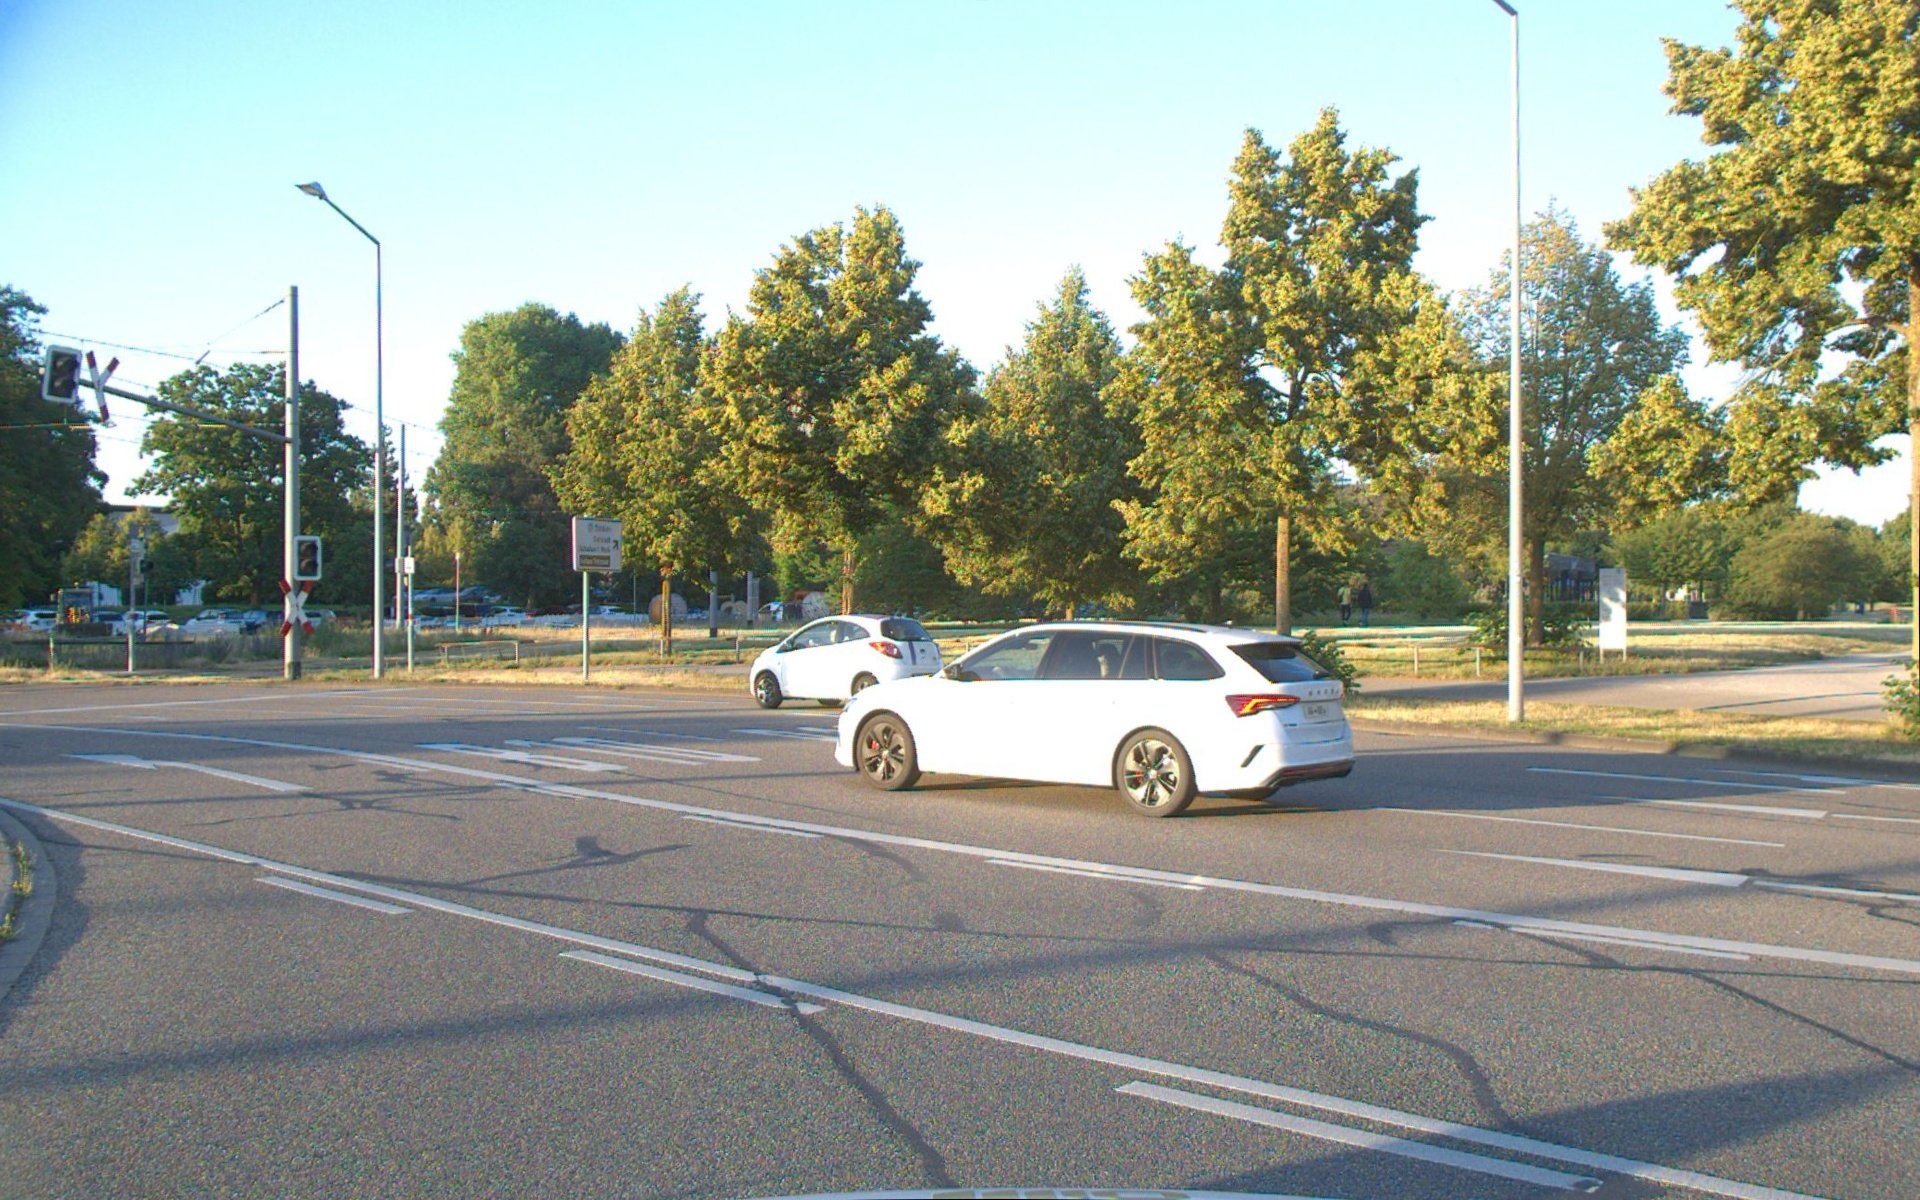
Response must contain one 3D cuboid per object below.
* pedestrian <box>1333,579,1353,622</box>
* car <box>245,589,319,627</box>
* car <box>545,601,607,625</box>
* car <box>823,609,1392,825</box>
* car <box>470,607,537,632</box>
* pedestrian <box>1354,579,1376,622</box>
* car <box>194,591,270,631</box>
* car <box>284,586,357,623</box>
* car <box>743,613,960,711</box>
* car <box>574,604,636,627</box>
[{"bbox_3d":[14.685,0.026,63.436,0.573,1.655,0.527,0,0,-32],"label":"pedestrian"},{"bbox_3d":[-38.321,0.441,93.459,3.914,2.135,1.995,0,0,31],"label":"car"},{"bbox_3d":[-26.397,0.871,113.658,3.913,1.578,1.996,0,0,30],"label":"car"},{"bbox_3d":[1.120,0.840,13.709,4.458,1.474,1.721,0,1,36],"label":"car"},{"bbox_3d":[-29.612,1.227,107.270,3.913,1.578,1.996,0,0,30],"label":"car"},{"bbox_3d":[15.466,0.025,63.205,0.612,1.655,0.525,0,0,-31],"label":"pedestrian"},{"bbox_3d":[-40.063,0.598,90.984,3.914,2.135,1.995,0,0,31],"label":"car"},{"bbox_3d":[-37.075,0.259,95.879,3.914,2.135,1.995,0,0,31],"label":"car"},{"bbox_3d":[-1.782,0.949,26.600,3.424,1.468,1.545,0,-1,42],"label":"car"},{"bbox_3d":[-24.789,1.083,115.540,3.913,1.578,1.996,0,0,30],"label":"car"}]
